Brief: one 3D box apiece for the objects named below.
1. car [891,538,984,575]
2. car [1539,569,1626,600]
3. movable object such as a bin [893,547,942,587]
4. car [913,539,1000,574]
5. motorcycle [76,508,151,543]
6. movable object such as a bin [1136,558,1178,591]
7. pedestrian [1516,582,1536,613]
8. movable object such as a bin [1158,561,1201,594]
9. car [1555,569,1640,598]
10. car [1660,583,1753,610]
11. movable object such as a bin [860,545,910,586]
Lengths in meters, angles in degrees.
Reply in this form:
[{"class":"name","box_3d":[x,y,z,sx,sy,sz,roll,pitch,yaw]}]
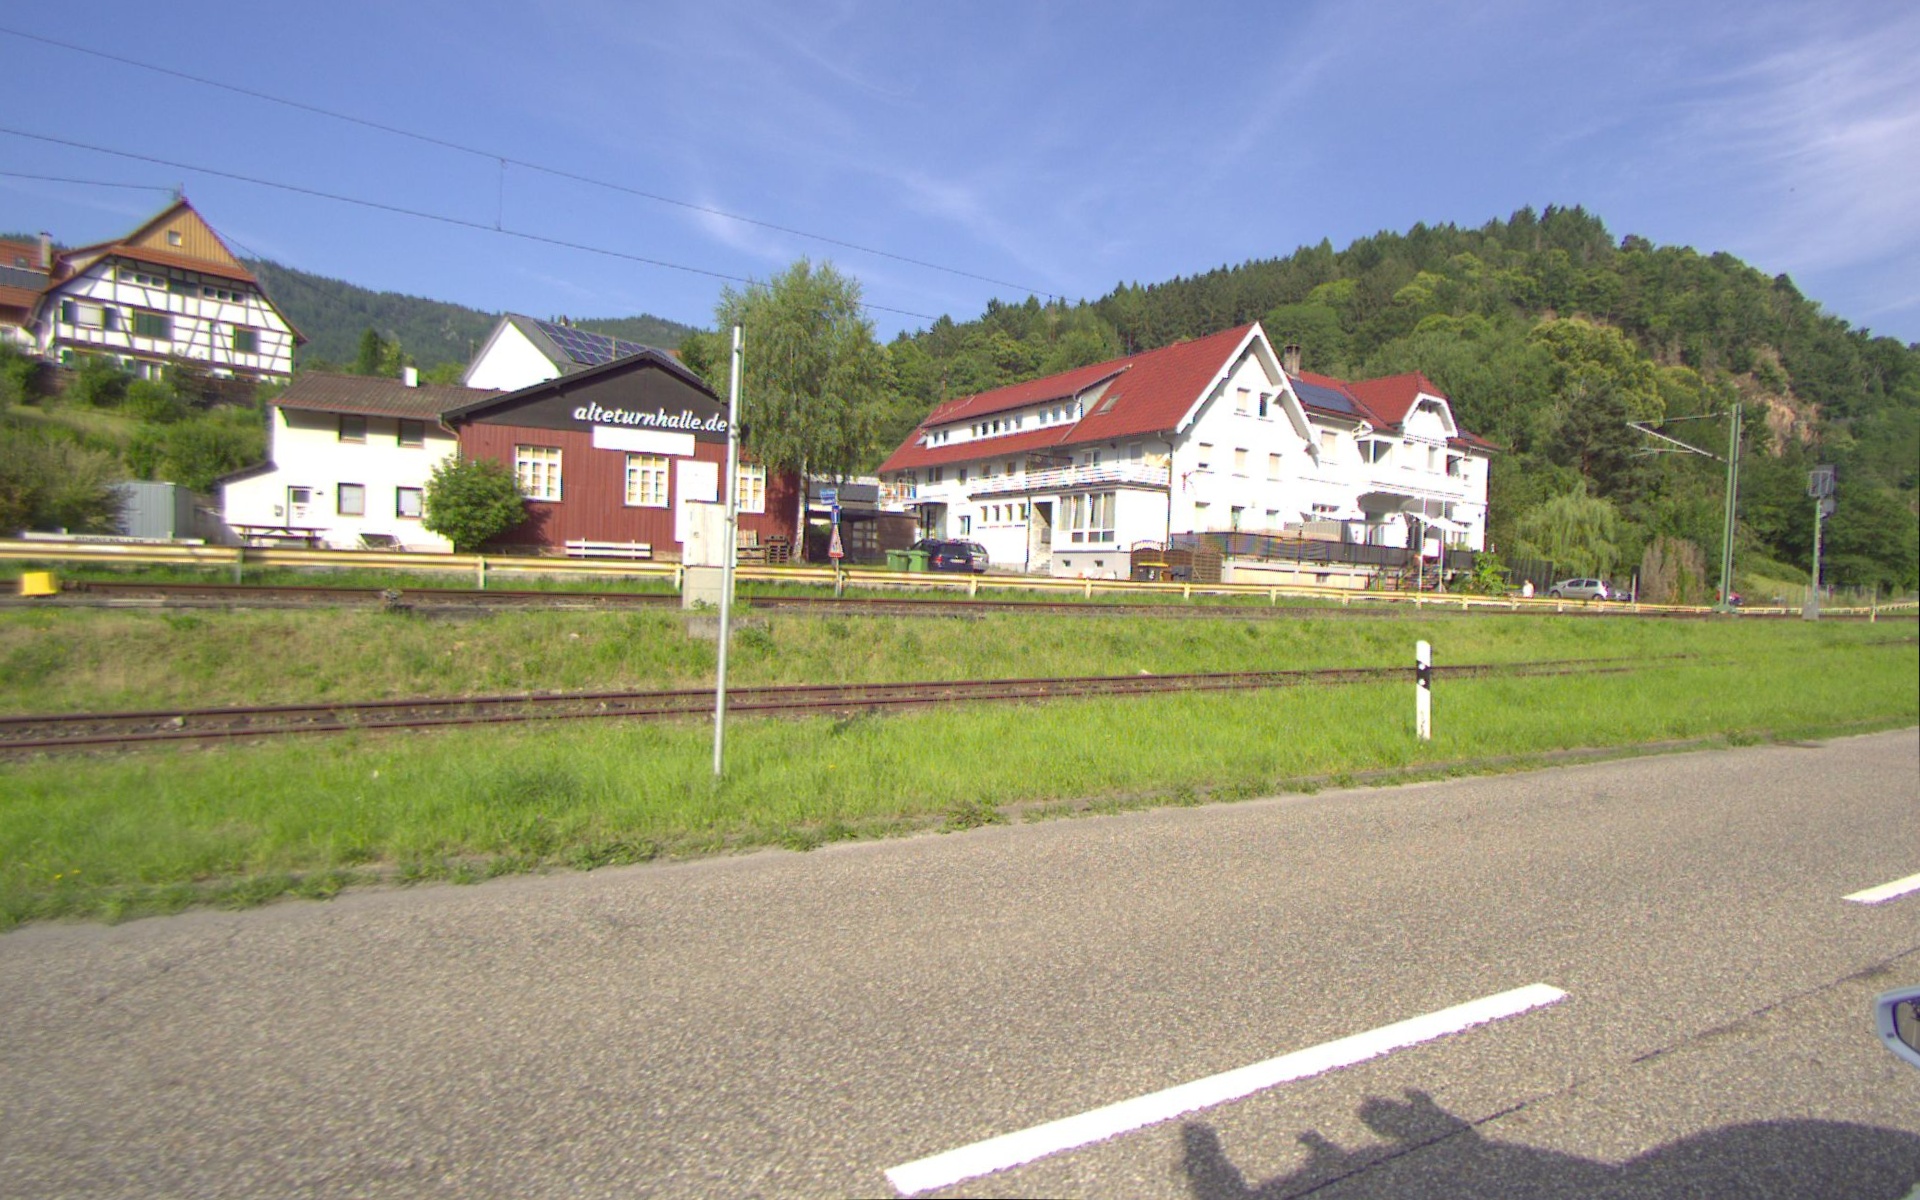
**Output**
[{"class":"car","box_3d":[-0.919,-1.643,38.178,1.716,1.288,4.073,1,2,-31]},{"class":"car","box_3d":[38.751,-0.976,62.587,1.979,1.714,4.120,1,2,-33]},{"class":"movable object such as a bin","box_3d":[-1.367,-1.064,32.080,1.084,1.208,1.130,1,2,-38]},{"class":"car","box_3d":[-0.204,-1.852,42.641,1.735,1.347,4.230,1,2,-32]},{"class":"motorcycle","box_3d":[-27.303,-2.392,32.429,1.722,1.006,0.659,1,2,-29]},{"class":"movable object such as a bin","box_3d":[7.628,-0.982,38.977,1.131,1.208,1.083,1,2,-33]},{"class":"pedestrian","box_3d":[30.682,-0.118,54.469,0.667,1.638,0.606,1,2,-17]},{"class":"movable object such as a bin","box_3d":[8.321,-0.859,38.051,1.131,1.208,1.083,1,2,-33]},{"class":"car","box_3d":[40.578,-1.061,64.011,1.979,1.714,4.120,1,2,-33]},{"class":"car","box_3d":[55.019,-0.263,74.100,2.427,1.714,4.939,1,2,-30]},{"class":"movable object such as a bin","box_3d":[-2.329,-1.083,31.326,1.084,1.208,1.130,1,2,-38]}]
